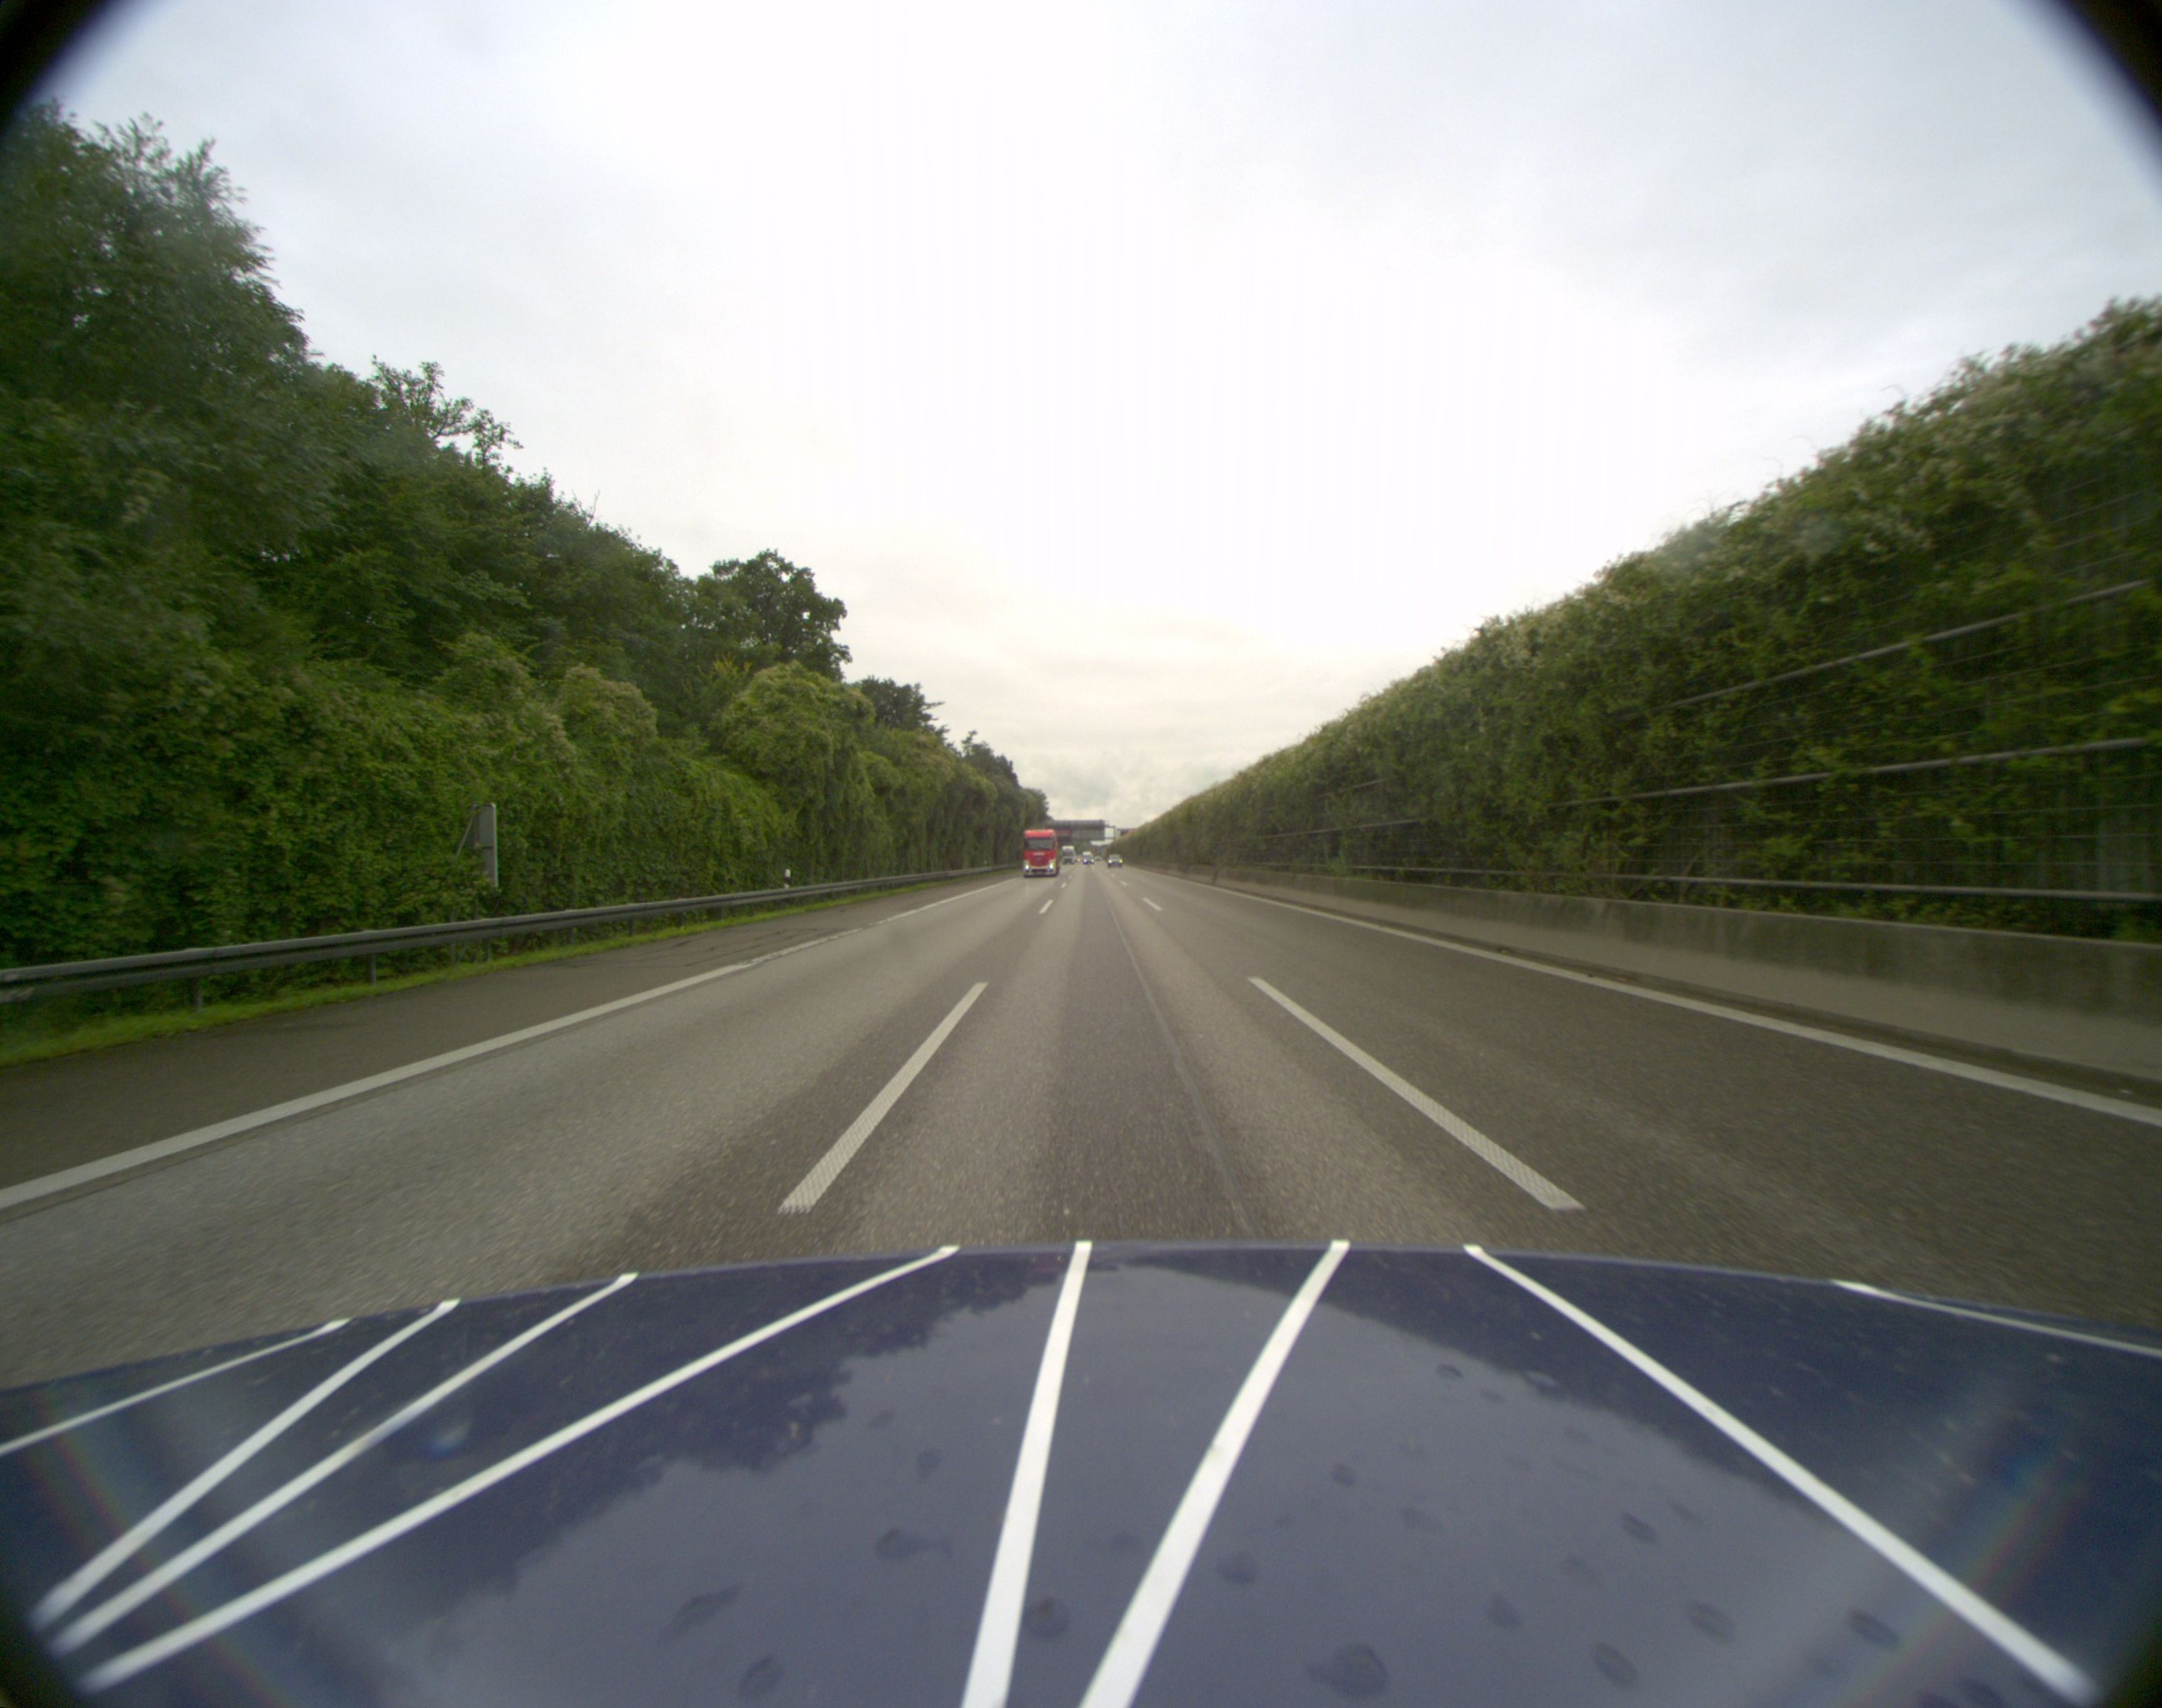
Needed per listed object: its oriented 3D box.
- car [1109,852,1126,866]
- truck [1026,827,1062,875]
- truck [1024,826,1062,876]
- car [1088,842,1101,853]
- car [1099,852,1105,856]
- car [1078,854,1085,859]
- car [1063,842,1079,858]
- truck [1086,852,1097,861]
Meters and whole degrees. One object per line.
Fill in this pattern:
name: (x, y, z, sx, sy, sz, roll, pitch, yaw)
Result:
car: (4.821, 0.599, 100.880, 2.023, 1.595, 5.438, -4, 1, 0)
truck: (-3.025, -0.373, 64.726, 2.709, 3.690, 9.838, -2, 2, -1)
truck: (-2.948, -0.276, 60.224, 2.709, 3.809, 4.197, -2, 2, 0)
car: (3.043, -1.429, 167.403, 2.769, 2.227, 6.546, -2, 1, 1)
car: (6.928, -0.043, 250.126, 1.751, 1.368, 4.000, -1, 0, 1)
car: (0.074, 0.606, 205.946, 1.751, 1.368, 4.000, -1, 0, 1)
car: (-2.021, -0.797, 160.756, 3.039, 3.278, 6.733, -2, 1, 1)
truck: (2.030, 0.451, 143.223, 1.825, 1.535, 3.999, -2, 2, 3)
